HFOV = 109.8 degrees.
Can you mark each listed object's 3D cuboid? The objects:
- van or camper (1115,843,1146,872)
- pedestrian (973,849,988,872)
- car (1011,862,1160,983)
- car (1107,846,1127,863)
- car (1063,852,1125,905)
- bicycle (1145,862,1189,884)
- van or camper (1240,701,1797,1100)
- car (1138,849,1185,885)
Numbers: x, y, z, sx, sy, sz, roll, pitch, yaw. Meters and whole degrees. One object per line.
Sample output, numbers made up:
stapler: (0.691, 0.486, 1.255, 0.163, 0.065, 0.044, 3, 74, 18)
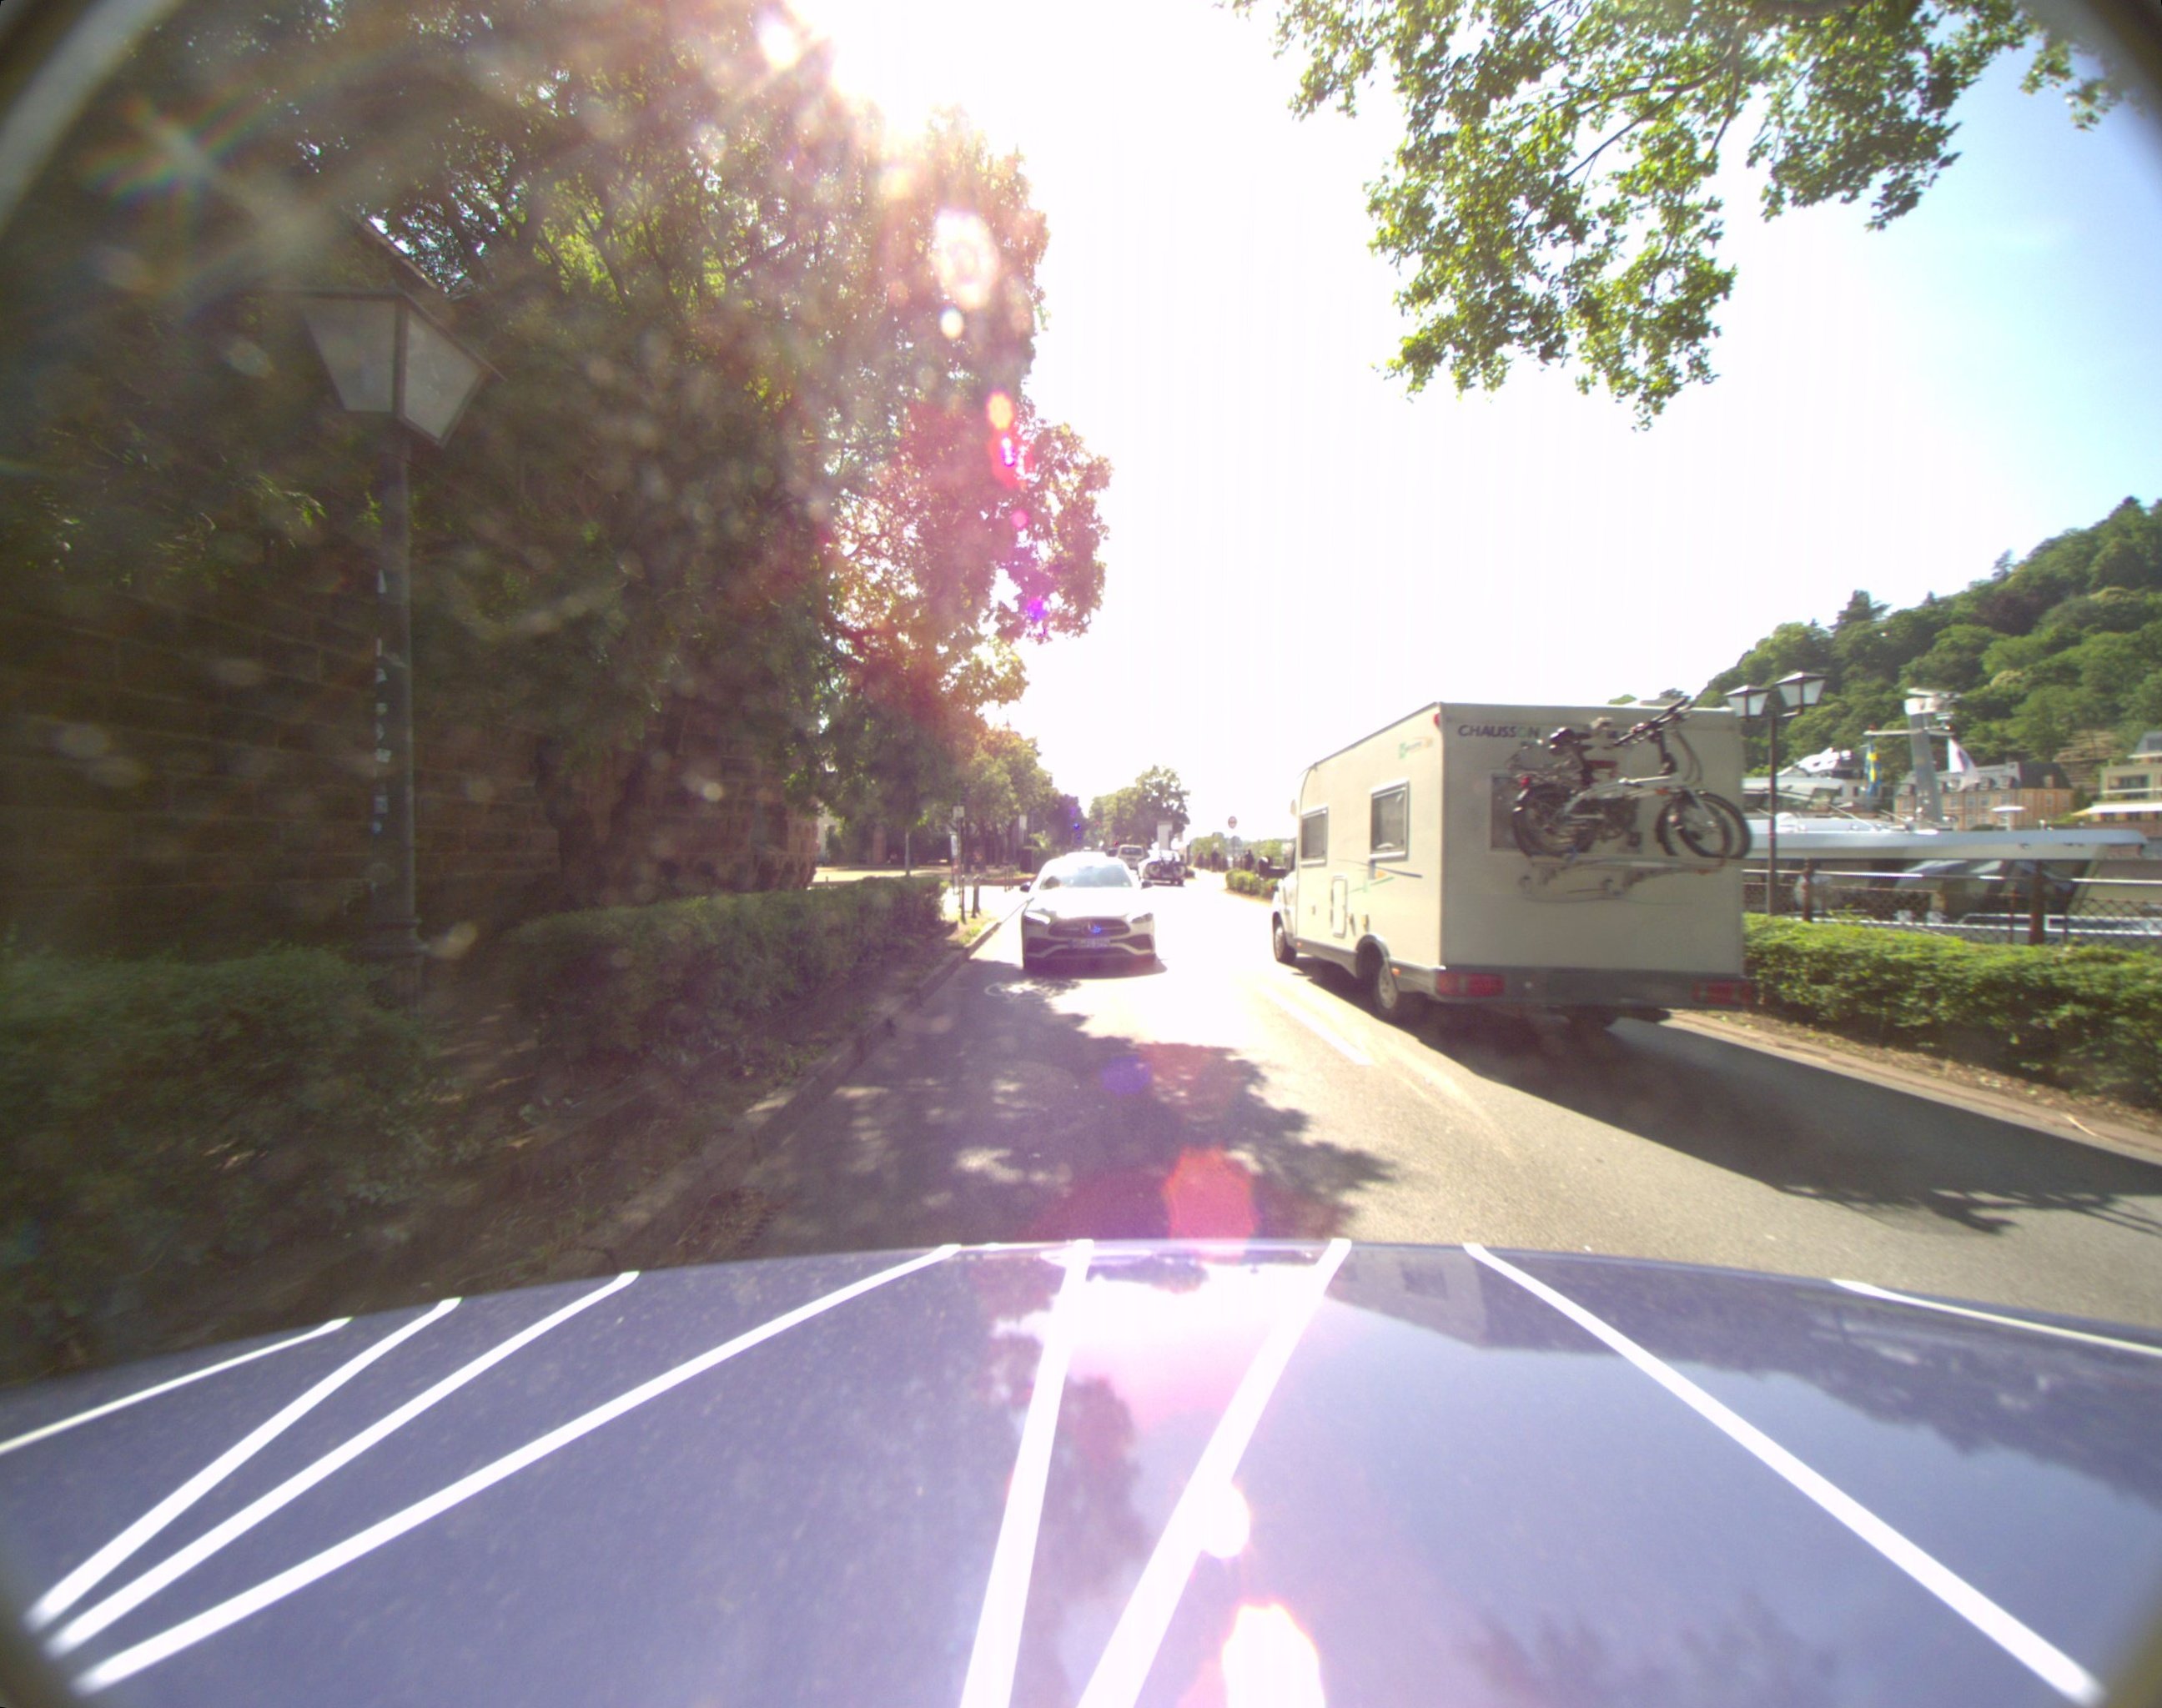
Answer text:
van or camper: (3.471, 0.232, 53.854, 1.923, 1.975, 4.000, 1, 0, 1)
pedestrian: (-5.360, 0.337, 40.674, 0.632, 1.186, 0.747, -2, 1, 2)
car: (0.054, 0.880, 11.721, 1.829, 1.418, 4.358, -1, 0, 0)
car: (3.530, 0.066, 75.069, 1.826, 1.604, 3.959, 1, 0, 0)
car: (0.396, 0.725, 24.673, 1.854, 1.543, 3.848, 1, 1, 0)
bicycle: (3.843, 0.866, 34.118, 1.873, 0.921, 0.955, 1, 1, 1)
van or camper: (3.614, 0.284, 8.283, 2.328, 2.647, 6.263, 2, 1, 0)
car: (3.804, 0.582, 36.539, 1.826, 1.603, 3.959, 1, 0, 0)
